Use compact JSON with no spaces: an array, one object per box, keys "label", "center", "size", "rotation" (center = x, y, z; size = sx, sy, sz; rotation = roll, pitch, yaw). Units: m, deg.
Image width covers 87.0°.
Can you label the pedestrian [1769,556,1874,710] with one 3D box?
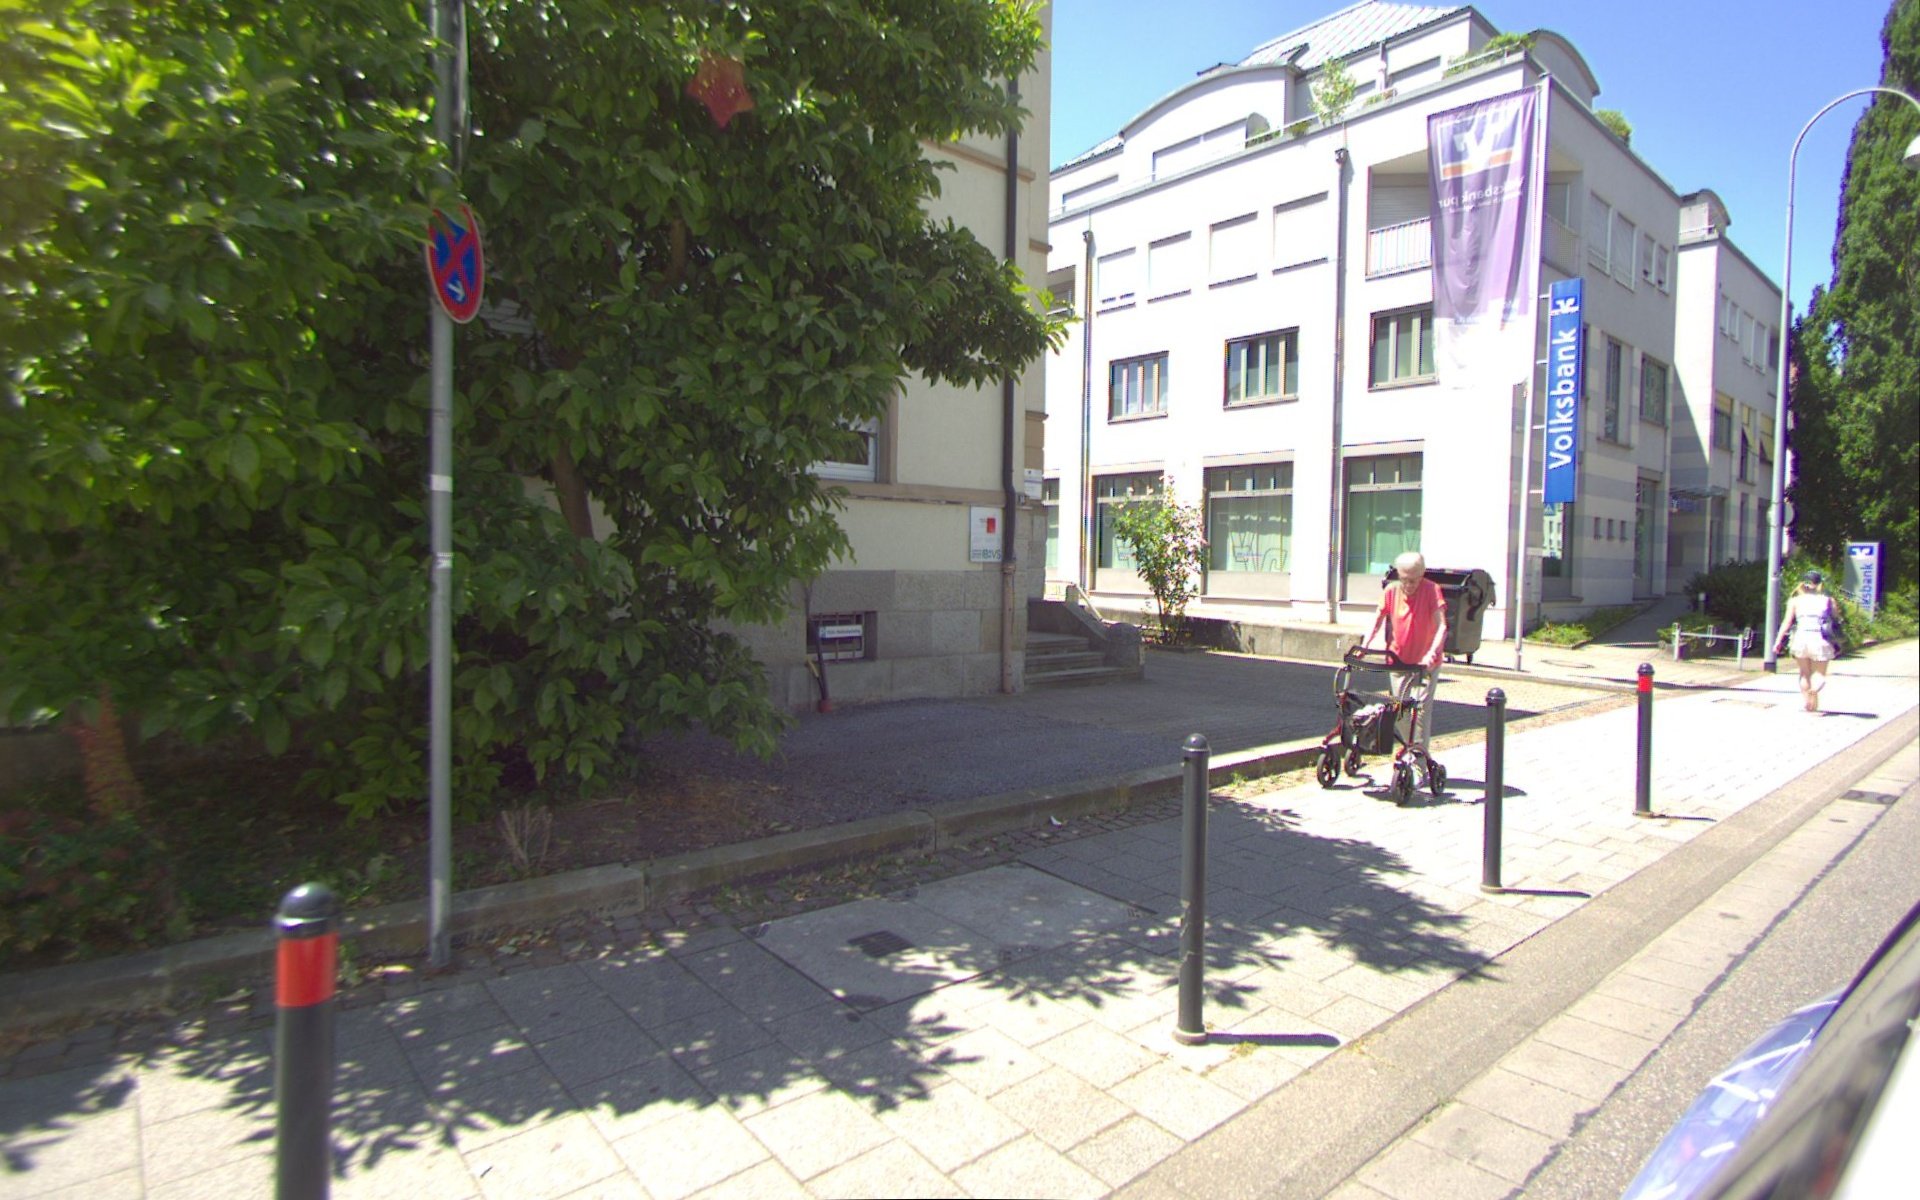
[{"label":"pedestrian","center":[9.823,0.351,11.542],"size":[0.770,1.646,0.701],"rotation":[-1,5,-42]}]

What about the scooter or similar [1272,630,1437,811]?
[{"label":"scooter or similar","center":[2.478,0.714,6.362],"size":[0.741,0.974,0.665],"rotation":[0,3,-41]}]

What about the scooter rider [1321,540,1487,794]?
[{"label":"scooter rider","center":[2.978,0.401,6.800],"size":[0.757,1.567,0.717],"rotation":[0,3,-42]}]

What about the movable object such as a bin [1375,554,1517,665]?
[{"label":"movable object such as a bin","center":[7.212,0.102,15.050],"size":[1.356,1.476,1.372],"rotation":[0,5,-39]}]
